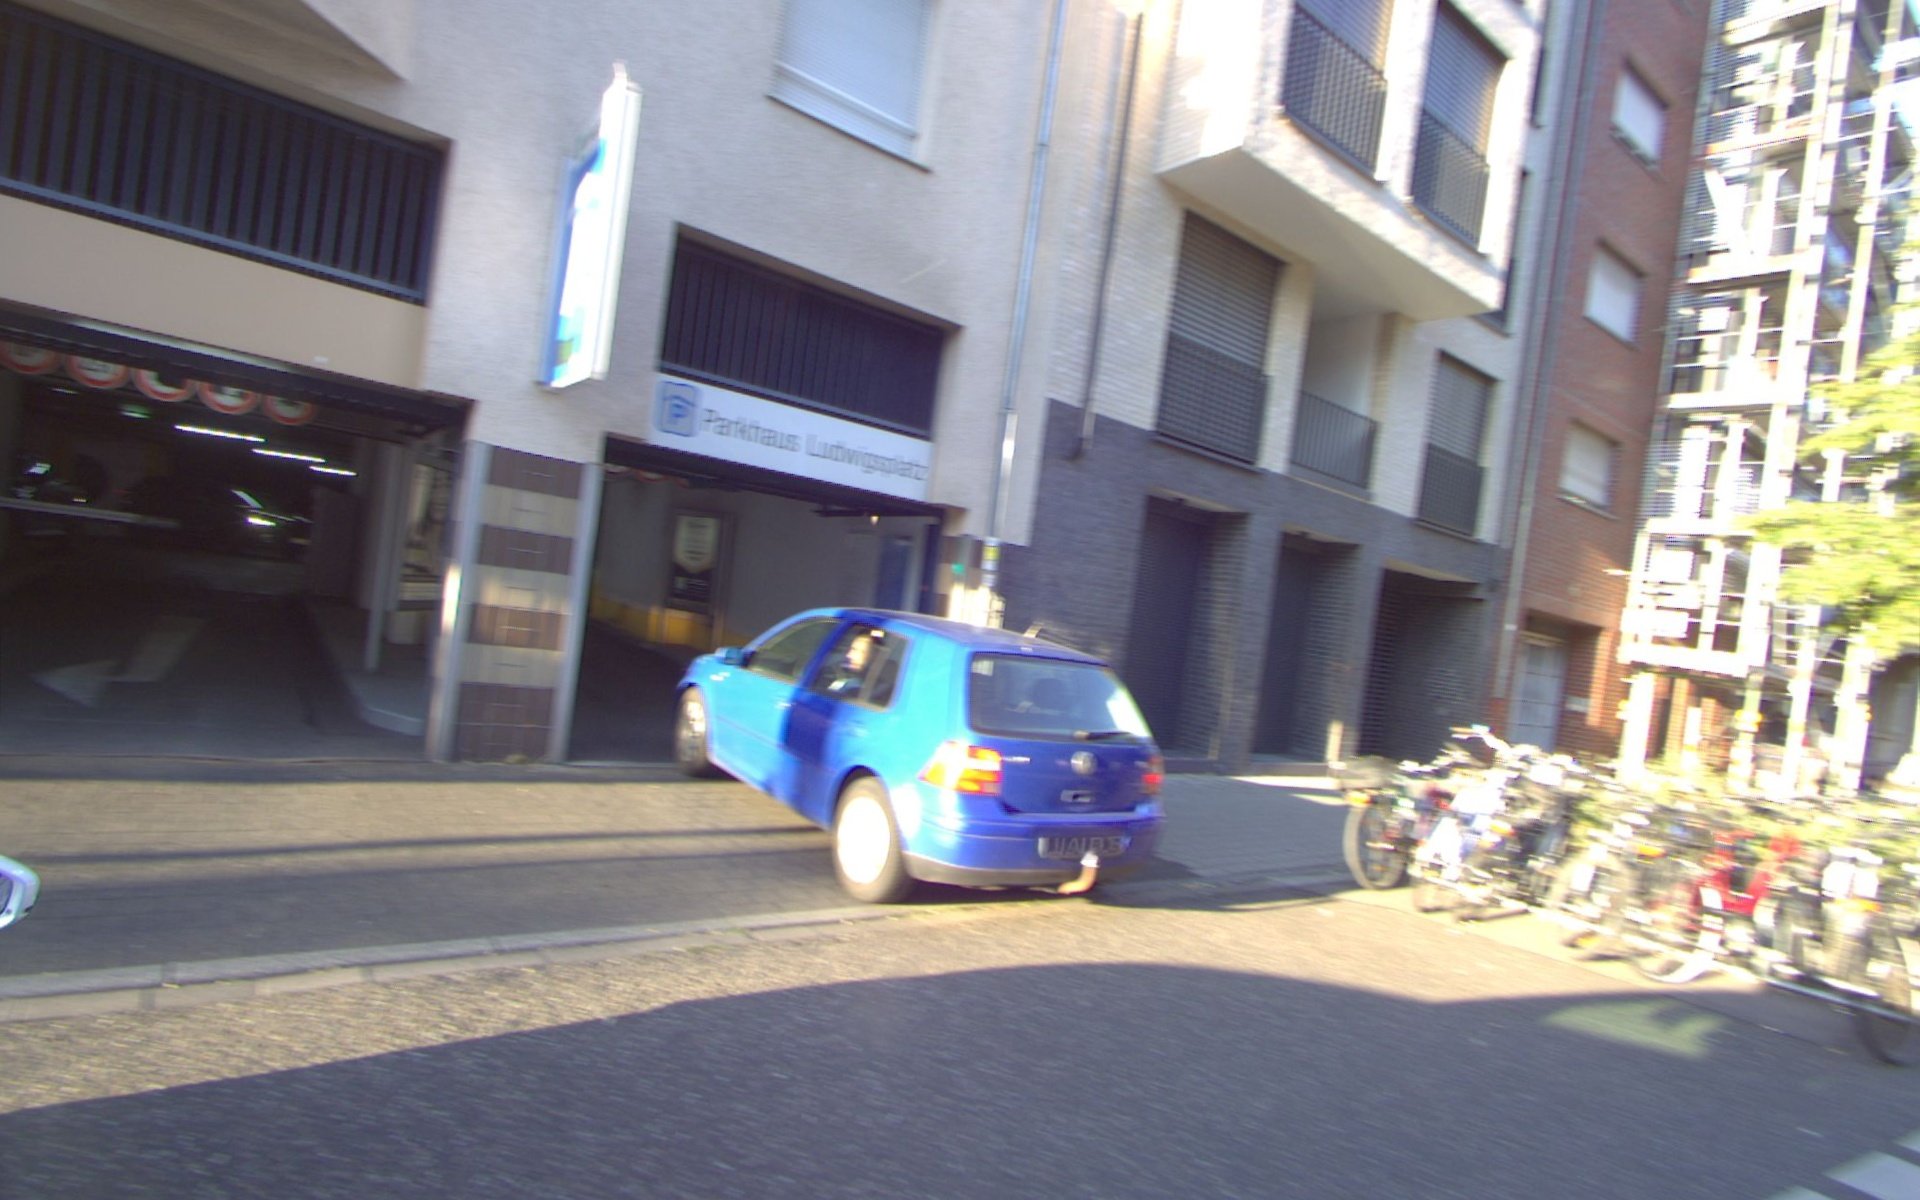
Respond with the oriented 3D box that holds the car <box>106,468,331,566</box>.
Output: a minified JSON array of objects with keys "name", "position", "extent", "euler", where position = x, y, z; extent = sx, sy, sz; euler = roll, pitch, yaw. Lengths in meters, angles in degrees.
[{"name":"car","position":[-17.775,-1.970,24.179],"extent":[4.218,1.644,1.892],"euler":[8,0,12]}]

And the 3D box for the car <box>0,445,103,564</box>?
[{"name":"car","position":[-14.425,-1.506,14.695],"extent":[1.797,1.593,4.221],"euler":[7,1,-26]}]

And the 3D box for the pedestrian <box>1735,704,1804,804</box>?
[{"name":"pedestrian","position":[15.890,3.019,19.755],"extent":[0.651,1.805,0.736],"euler":[7,1,-36]}]

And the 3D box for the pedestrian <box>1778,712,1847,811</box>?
[{"name":"pedestrian","position":[16.729,3.163,19.751],"extent":[0.651,1.805,0.735],"euler":[7,1,-38]}]

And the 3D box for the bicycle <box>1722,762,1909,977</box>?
[{"name":"bicycle","position":[5.613,1.708,6.572],"extent":[1.539,1.177,0.484],"euler":[8,1,-37]}]

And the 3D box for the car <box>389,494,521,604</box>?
[{"name":"car","position":[-9.463,-1.013,18.696],"extent":[1.546,1.638,3.842],"euler":[7,1,-35]}]

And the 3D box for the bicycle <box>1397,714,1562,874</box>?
[{"name":"bicycle","position":[4.288,1.584,8.265],"extent":[1.539,1.146,0.454],"euler":[8,1,-37]}]

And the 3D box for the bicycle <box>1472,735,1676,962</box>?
[{"name":"bicycle","position":[3.733,1.462,6.070],"extent":[1.539,1.174,0.378],"euler":[8,1,-37]}]

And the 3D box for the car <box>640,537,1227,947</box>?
[{"name":"car","position":[-0.519,0.627,6.589],"extent":[1.679,1.583,4.075],"euler":[8,2,-36]}]

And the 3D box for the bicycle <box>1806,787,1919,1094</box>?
[{"name":"bicycle","position":[4.710,1.576,4.857],"extent":[1.539,1.235,0.493],"euler":[8,1,-37]}]

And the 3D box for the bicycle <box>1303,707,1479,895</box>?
[{"name":"bicycle","position":[3.123,1.429,7.235],"extent":[1.394,1.198,0.384],"euler":[8,1,-37]}]

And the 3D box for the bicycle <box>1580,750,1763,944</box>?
[{"name":"bicycle","position":[5.051,1.703,7.106],"extent":[1.539,1.164,0.484],"euler":[8,1,-37]}]

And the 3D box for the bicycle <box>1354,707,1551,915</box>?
[{"name":"bicycle","position":[3.302,1.383,6.689],"extent":[1.539,1.204,0.383],"euler":[8,1,-37]}]

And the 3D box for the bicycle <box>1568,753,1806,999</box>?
[{"name":"bicycle","position":[4.112,1.514,5.655],"extent":[1.537,1.171,0.414],"euler":[8,1,-32]}]

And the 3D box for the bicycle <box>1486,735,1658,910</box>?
[{"name":"bicycle","position":[4.730,1.686,7.735],"extent":[1.539,1.158,0.464],"euler":[8,1,-37]}]

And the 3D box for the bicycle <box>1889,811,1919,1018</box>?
[{"name":"bicycle","position":[6.082,1.826,5.932],"extent":[1.539,1.193,0.503],"euler":[8,1,-37]}]
